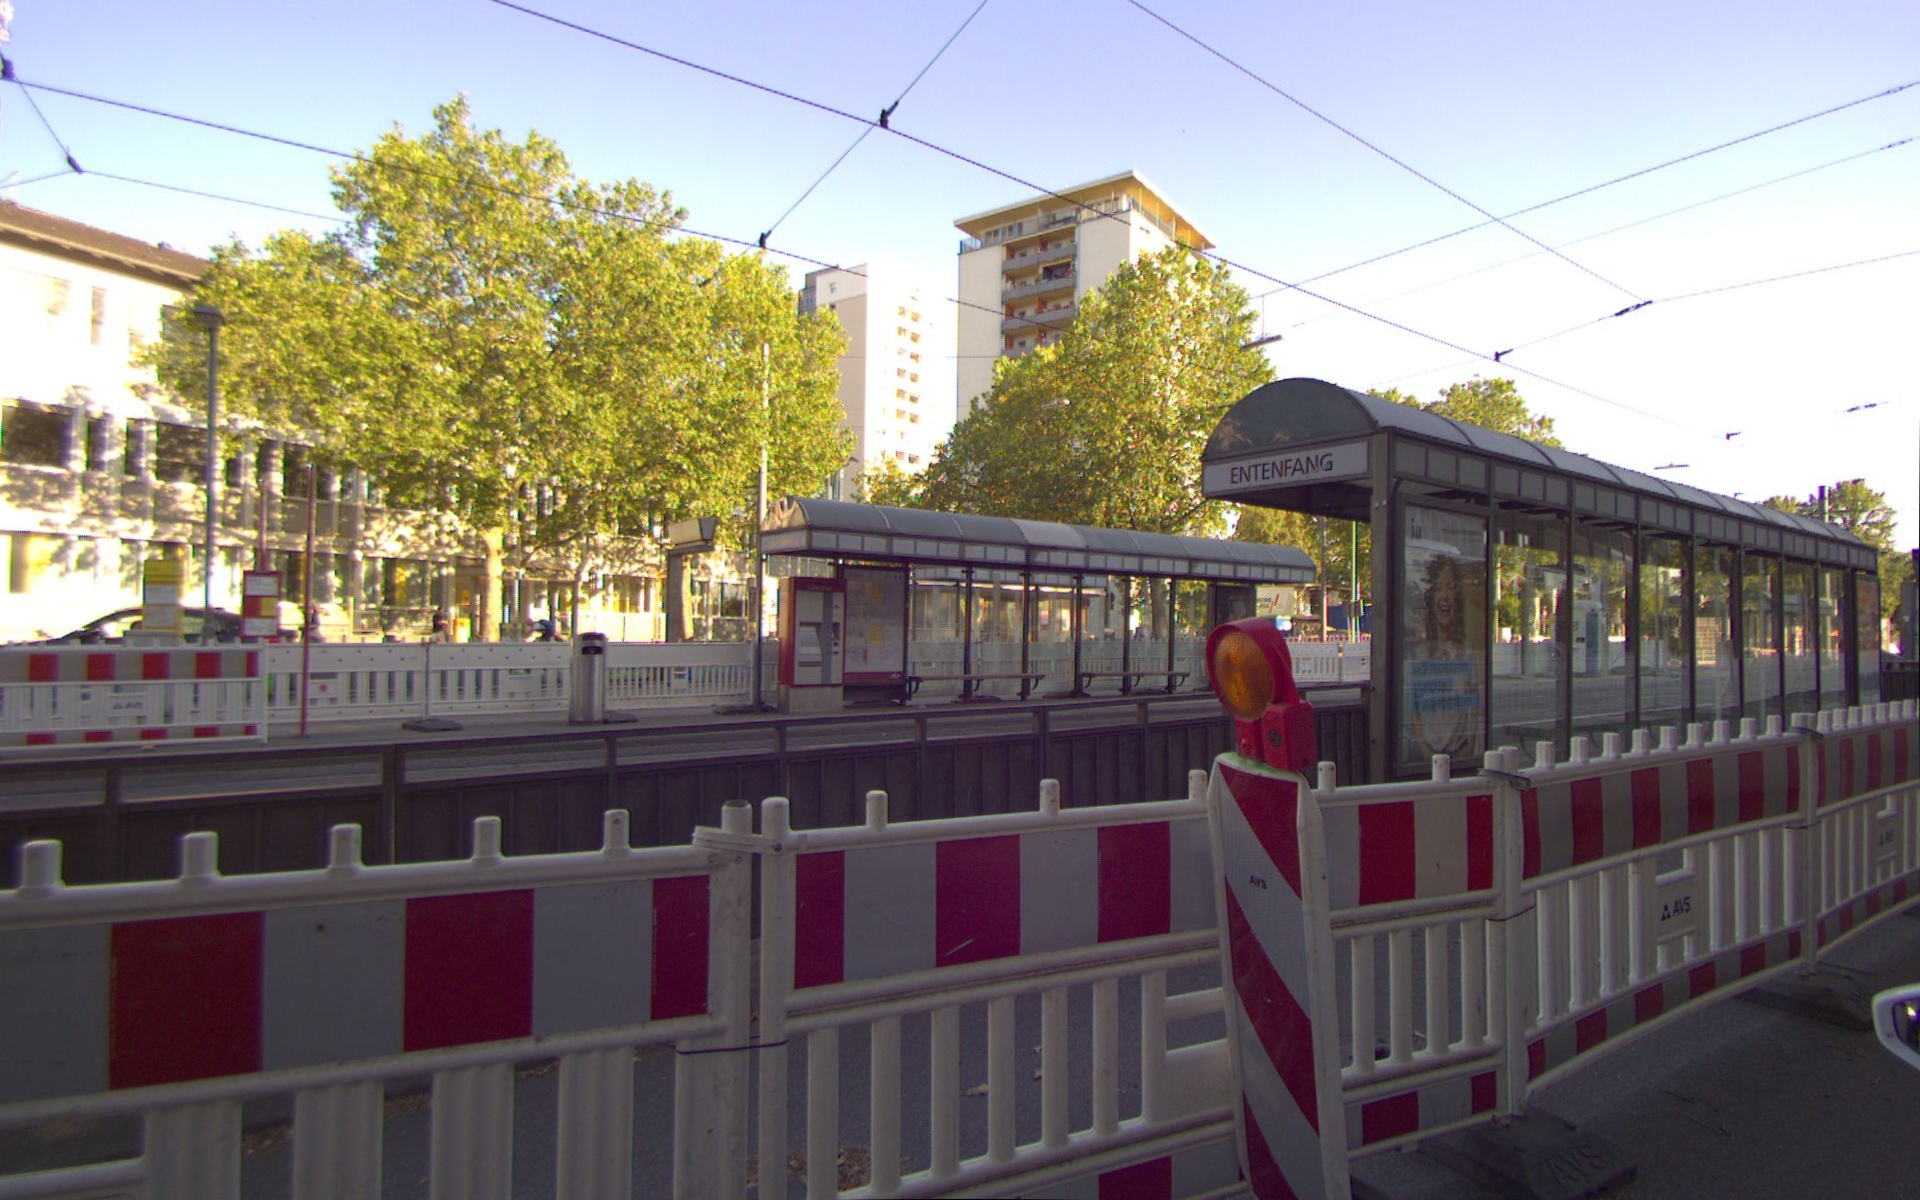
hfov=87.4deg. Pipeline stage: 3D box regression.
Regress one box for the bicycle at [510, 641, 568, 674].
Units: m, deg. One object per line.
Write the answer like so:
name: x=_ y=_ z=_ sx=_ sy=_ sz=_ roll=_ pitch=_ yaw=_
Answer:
bicycle: x=-11.818 y=1.602 z=28.218 sx=1.451 sy=0.907 sz=0.459 roll=2 pitch=-2 yaw=-35

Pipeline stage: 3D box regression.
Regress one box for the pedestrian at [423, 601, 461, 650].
pedestrian: x=-18.540 y=0.908 z=35.962 sx=0.793 sy=1.751 sz=0.884 roll=0 pitch=-1 yaw=30

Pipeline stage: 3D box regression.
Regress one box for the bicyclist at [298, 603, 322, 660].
bicyclist: x=-16.198 y=0.782 z=25.024 sx=0.460 sy=1.414 sz=0.459 roll=1 pitch=-1 yaw=-35

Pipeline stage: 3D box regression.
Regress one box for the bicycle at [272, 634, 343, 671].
bicycle: x=-16.226 y=1.303 z=25.001 sx=1.451 sy=0.907 sz=0.459 roll=2 pitch=-2 yaw=-35

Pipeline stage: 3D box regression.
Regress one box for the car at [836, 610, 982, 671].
car: x=-1.354 y=1.093 z=27.412 sx=3.740 sy=1.532 sz=1.646 roll=2 pitch=-2 yaw=-38

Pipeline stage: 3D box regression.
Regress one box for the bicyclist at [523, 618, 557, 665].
bicyclist: x=-11.802 y=1.165 z=28.235 sx=0.801 sy=1.314 sz=0.459 roll=2 pitch=-1 yaw=-35

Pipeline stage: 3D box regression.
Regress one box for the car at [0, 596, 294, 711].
car: x=-13.798 y=0.836 z=16.601 sx=4.544 sy=1.689 sz=1.881 roll=2 pitch=0 yaw=-37
